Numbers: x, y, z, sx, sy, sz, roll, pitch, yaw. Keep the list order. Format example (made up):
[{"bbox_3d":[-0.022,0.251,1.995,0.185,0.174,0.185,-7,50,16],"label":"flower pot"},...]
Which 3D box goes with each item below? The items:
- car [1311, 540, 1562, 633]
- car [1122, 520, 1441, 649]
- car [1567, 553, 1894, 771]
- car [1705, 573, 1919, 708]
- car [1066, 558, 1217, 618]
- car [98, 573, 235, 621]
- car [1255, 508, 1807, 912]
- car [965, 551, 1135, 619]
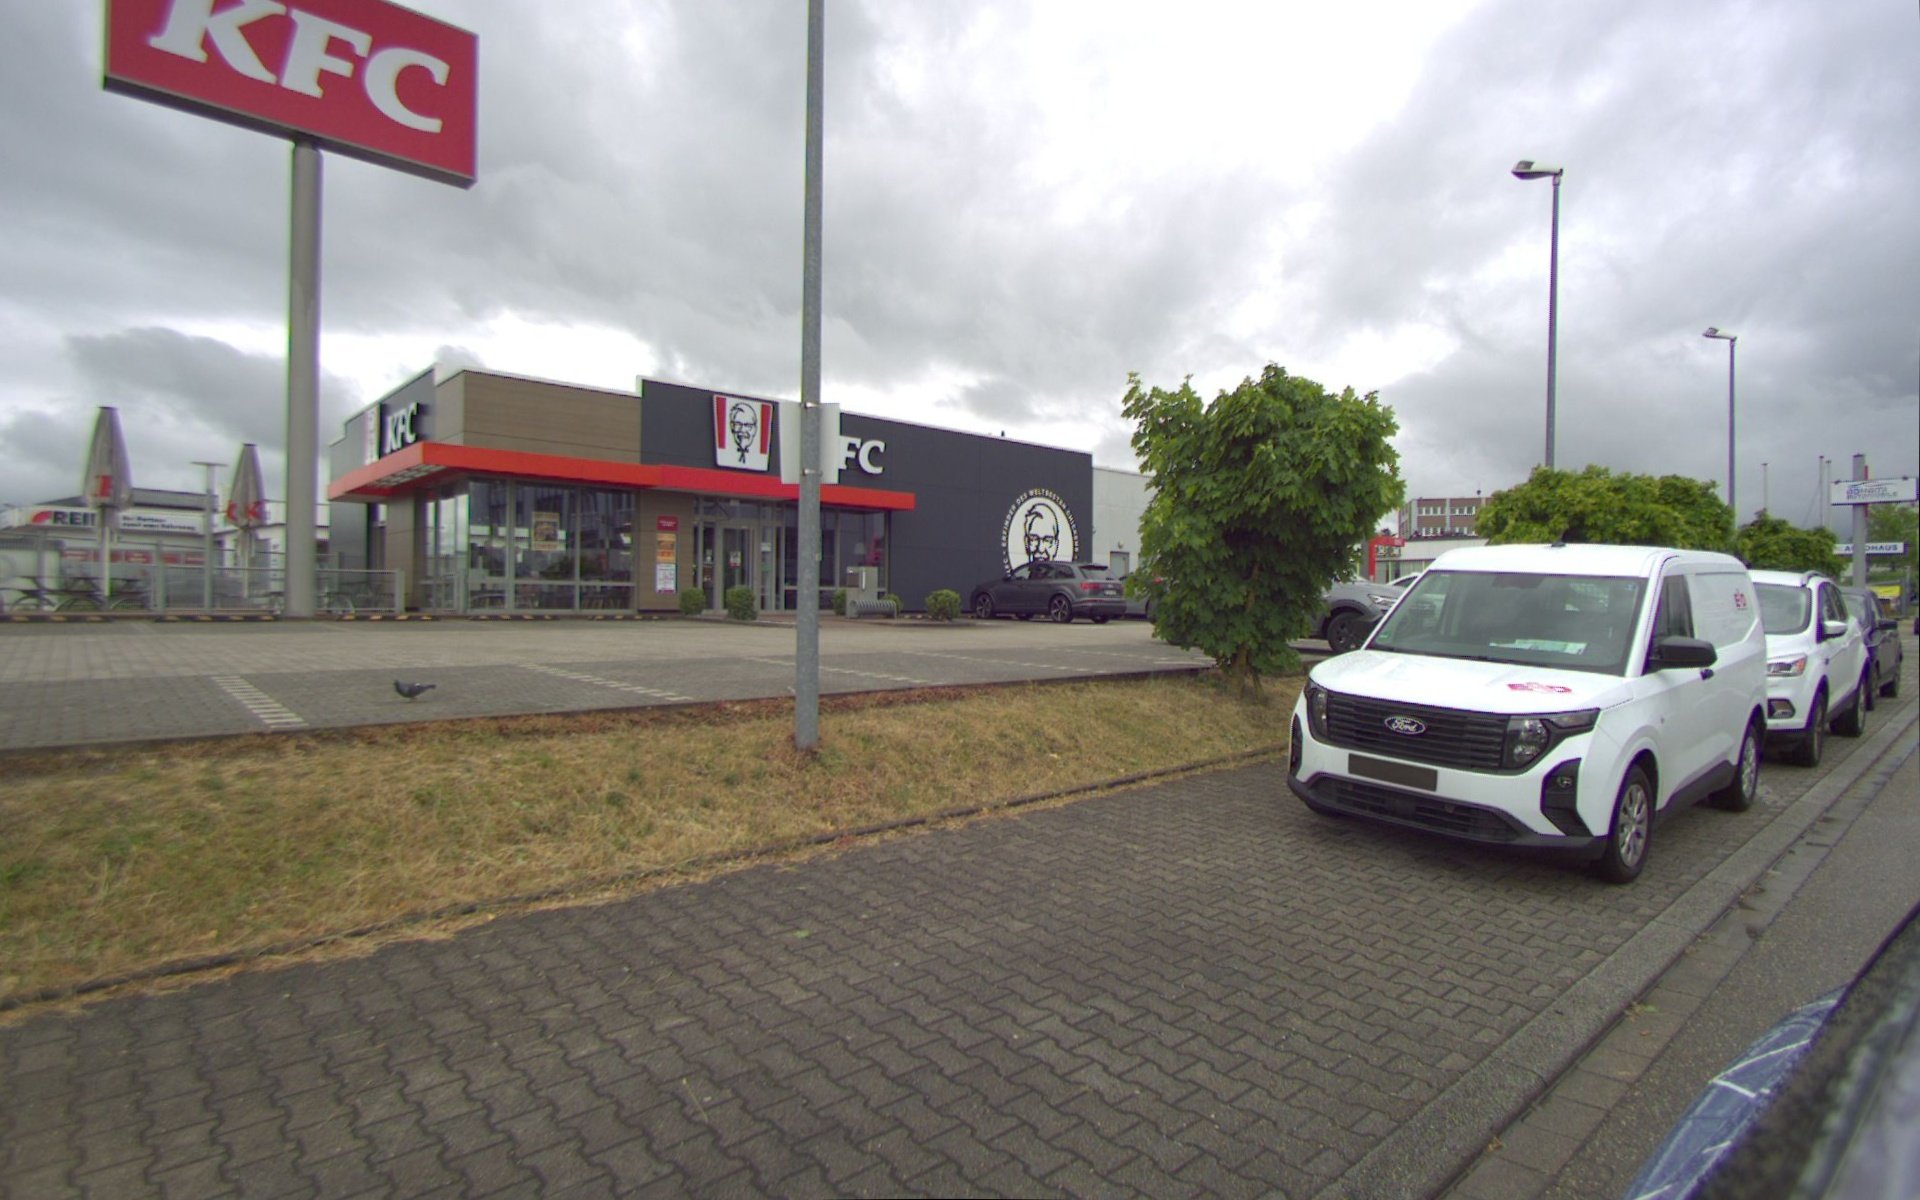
[{"bbox_3d":[10.022,-0.295,21.514,4.489,1.762,1.862,1,1,45],"label":"car"},{"bbox_3d":[4.960,-0.250,16.064,4.489,1.762,1.862,1,1,45],"label":"car"},{"bbox_3d":[7.721,0.451,10.018,3.930,1.730,1.821,-1,1,-41],"label":"car"},{"bbox_3d":[12.064,0.448,14.174,3.930,1.618,1.821,-1,1,-41],"label":"car"},{"bbox_3d":[5.687,-0.396,32.062,4.489,1.762,1.862,1,1,45],"label":"car"},{"bbox_3d":[-30.155,-0.143,38.501,3.934,1.701,1.952,-1,1,-44],"label":"car"},{"bbox_3d":[3.885,0.420,6.564,4.175,1.805,1.796,-1,3,-41],"label":"car"},{"bbox_3d":[2.471,-0.427,28.632,4.729,1.762,1.862,1,1,45],"label":"car"}]
